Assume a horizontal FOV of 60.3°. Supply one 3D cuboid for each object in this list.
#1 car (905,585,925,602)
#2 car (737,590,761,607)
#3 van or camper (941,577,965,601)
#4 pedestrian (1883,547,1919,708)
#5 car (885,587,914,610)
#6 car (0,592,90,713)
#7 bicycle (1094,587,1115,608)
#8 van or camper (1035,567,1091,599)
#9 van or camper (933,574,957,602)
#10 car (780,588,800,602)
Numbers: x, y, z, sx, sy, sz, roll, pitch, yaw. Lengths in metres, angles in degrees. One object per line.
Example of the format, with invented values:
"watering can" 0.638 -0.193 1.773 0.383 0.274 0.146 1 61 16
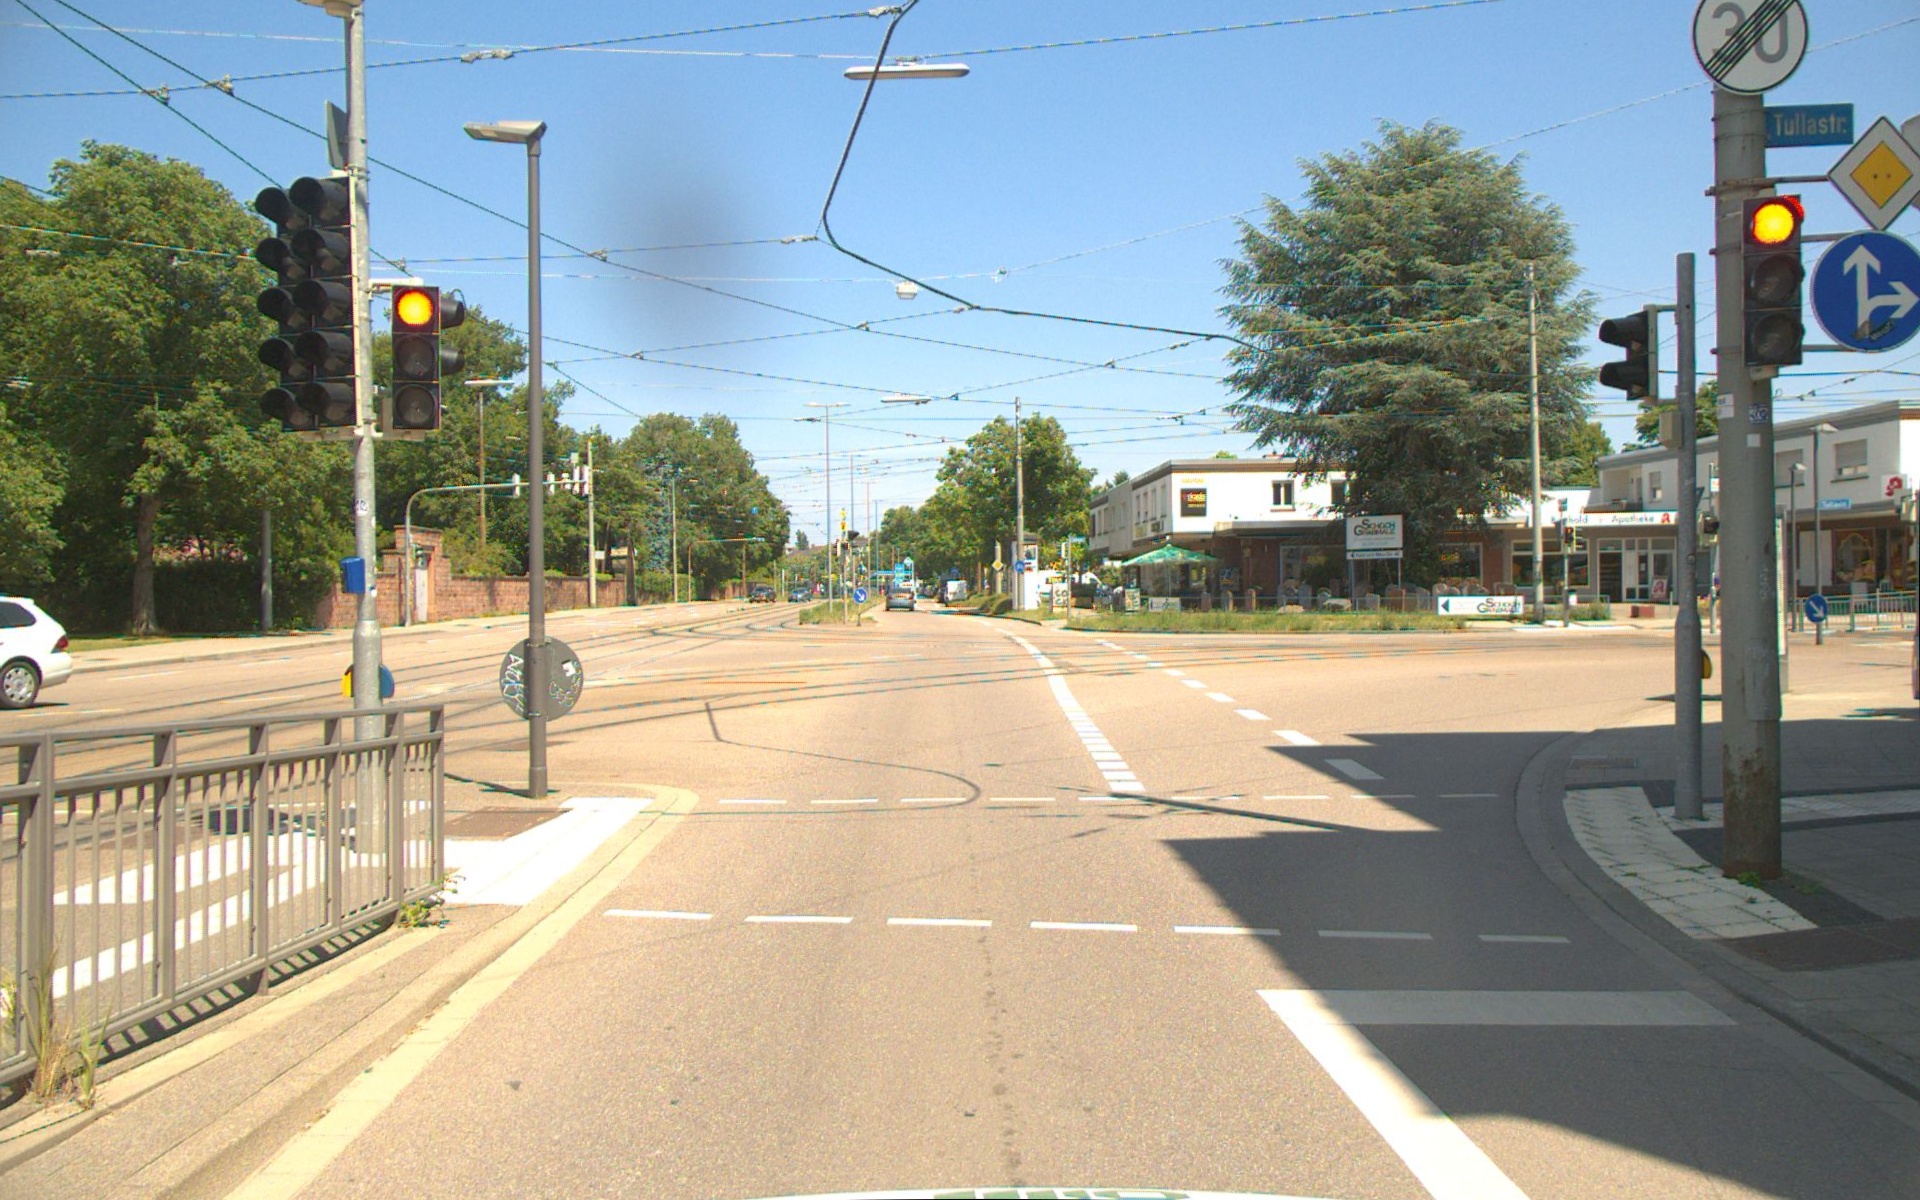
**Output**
"car" -3.944 -0.546 146.649 1.636 1.460 3.475 -1 0 1
"car" -20.529 -0.118 161.202 1.783 1.631 4.519 -1 0 -1
"van or camper" -0.572 -0.866 130.352 1.883 1.803 3.999 -1 0 -1
"pedestrian" 10.029 0.256 16.764 0.809 1.611 0.827 -4 0 5
"car" -3.763 -0.099 101.978 1.604 1.375 3.838 -1 0 -4
"car" -13.230 0.680 20.286 1.780 1.516 4.500 -1 0 20
"bicycle" 7.387 -0.147 84.593 1.012 1.032 2.639 -1 0 5
"van or camper" 8.932 -1.460 143.523 4.662 2.717 2.134 -1 0 -3
"van or camper" -1.390 -1.096 152.809 1.954 2.507 3.997 -1 0 -4
"car" -17.638 -0.520 171.959 1.607 1.445 4.168 -1 0 1
